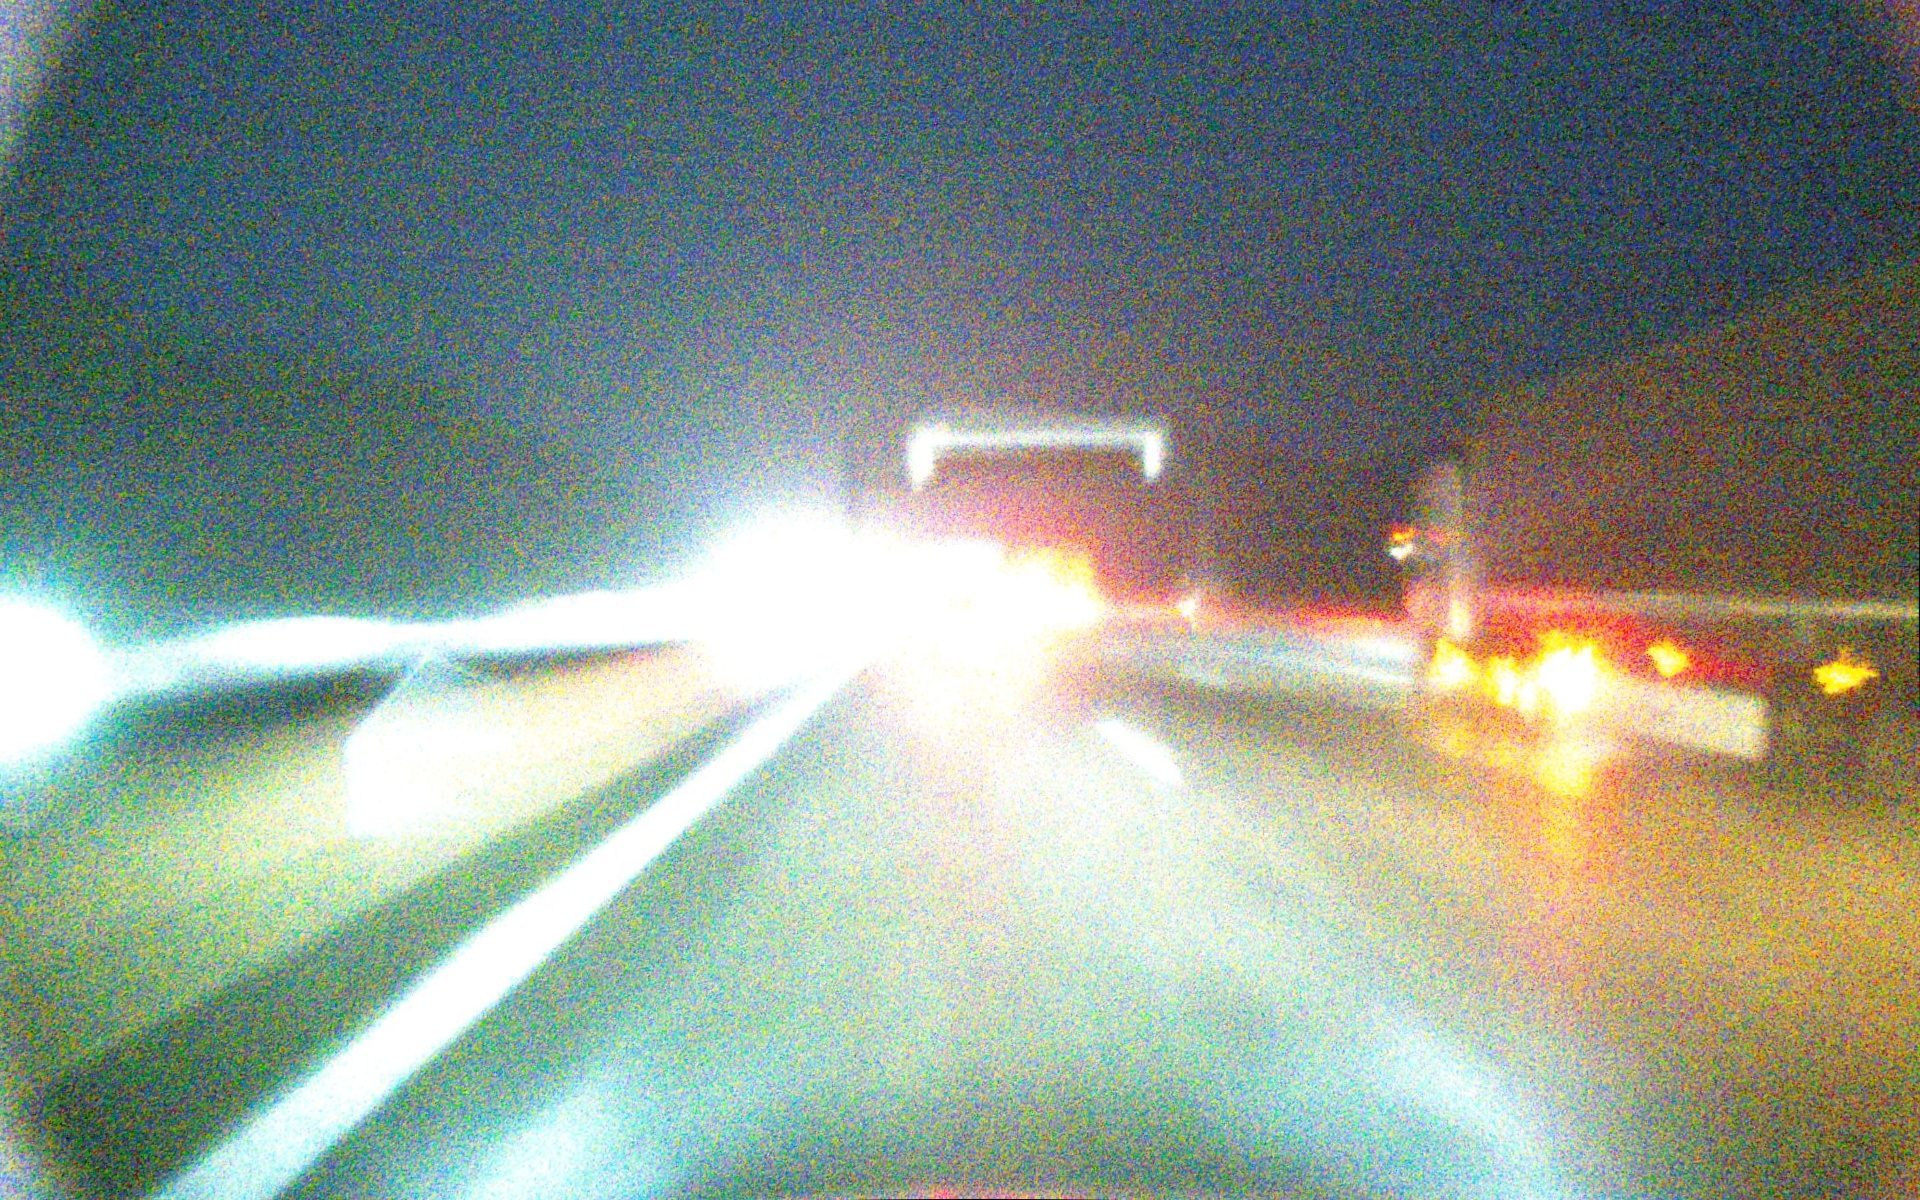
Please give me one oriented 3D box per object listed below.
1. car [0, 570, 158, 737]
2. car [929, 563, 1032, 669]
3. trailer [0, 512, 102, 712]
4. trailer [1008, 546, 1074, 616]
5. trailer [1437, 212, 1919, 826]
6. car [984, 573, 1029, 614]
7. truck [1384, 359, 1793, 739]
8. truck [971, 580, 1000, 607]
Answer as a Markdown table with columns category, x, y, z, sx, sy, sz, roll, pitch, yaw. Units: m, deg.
| category | x | y | z | sx | sy | sz | roll | pitch | yaw |
| --- | --- | --- | --- | --- | --- | --- | --- | --- | --- |
| car | -12.741 | 0.651 | 22.290 | 1.953 | 2.049 | 3.999 | -1 | 0 | -1 |
| car | 0.357 | 0.330 | 33.957 | 1.953 | 2.049 | 3.998 | 0 | -1 | -2 |
| trailer | -20.534 | 0.258 | 32.751 | 2.799 | 3.968 | 8.701 | -1 | 0 | -3 |
| trailer | 5.208 | -1.130 | 109.125 | 2.980 | 4.180 | 13.821 | -2 | 0 | -2 |
| trailer | 7.908 | -0.588 | 14.676 | 2.844 | 4.180 | 14.484 | -1 | 0 | -1 |
| car | 2.449 | -0.318 | 87.662 | 1.954 | 2.049 | 3.996 | -2 | 0 | -4 |
| truck | 7.789 | -0.587 | 21.475 | 2.844 | 4.180 | 6.029 | -1 | 0 | -1 |
| truck | 3.310 | -0.826 | 217.047 | 2.976 | 3.355 | 11.375 | -2 | 0 | -2 |
